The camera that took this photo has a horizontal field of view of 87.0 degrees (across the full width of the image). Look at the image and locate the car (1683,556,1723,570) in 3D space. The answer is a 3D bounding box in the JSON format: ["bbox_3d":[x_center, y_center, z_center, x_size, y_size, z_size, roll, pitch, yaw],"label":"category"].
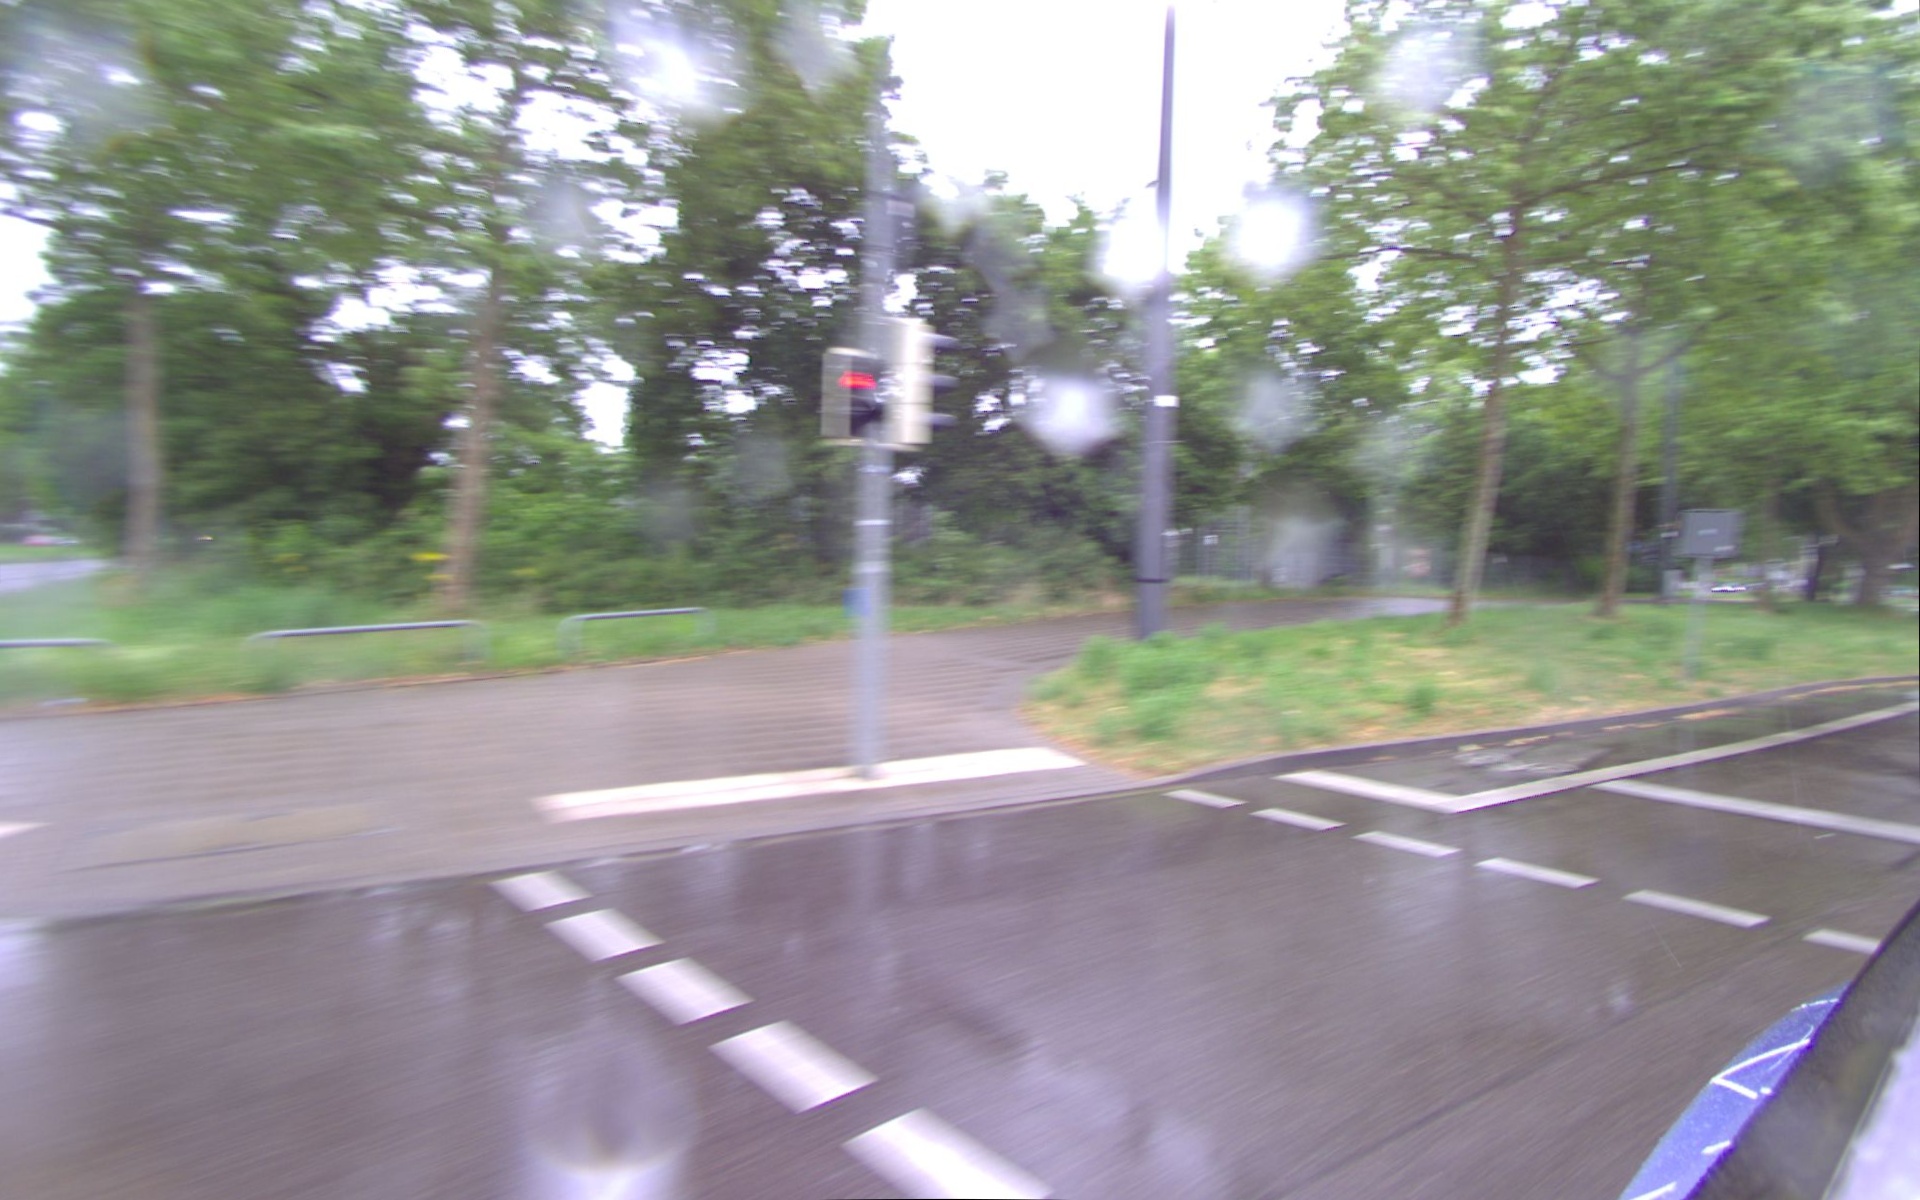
[{"bbox_3d":[98.089,-4.916,133.704,3.967,1.849,1.979,2,1,31],"label":"car"}]
